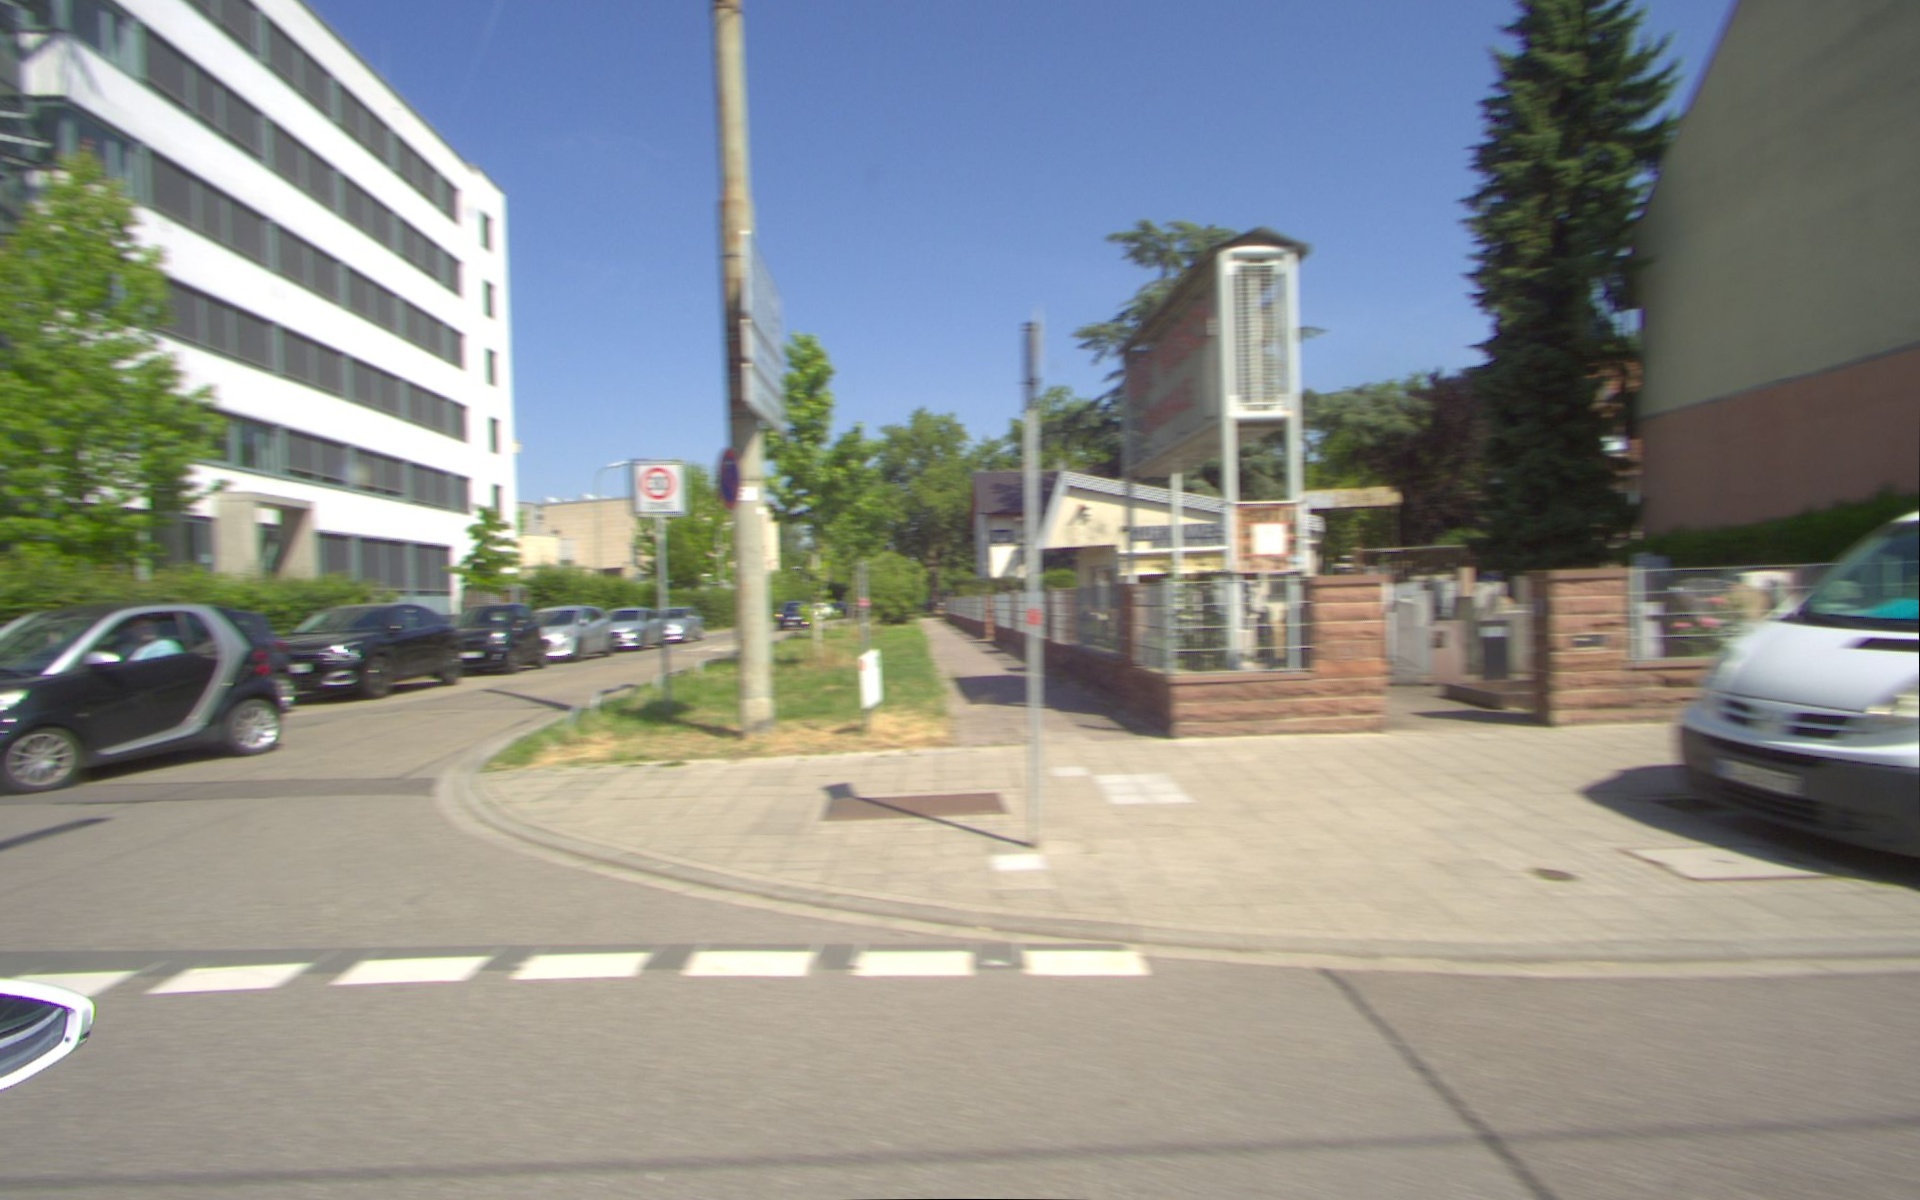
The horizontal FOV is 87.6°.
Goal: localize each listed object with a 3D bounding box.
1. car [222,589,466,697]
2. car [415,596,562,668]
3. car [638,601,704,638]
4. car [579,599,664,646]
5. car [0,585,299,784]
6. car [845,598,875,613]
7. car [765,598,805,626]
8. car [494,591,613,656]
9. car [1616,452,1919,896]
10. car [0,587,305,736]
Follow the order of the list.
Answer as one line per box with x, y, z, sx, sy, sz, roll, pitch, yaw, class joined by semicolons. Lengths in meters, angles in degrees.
-10.144;0.624;16.924;1.780;1.539;4.167;-2;0;-5;car
-10.573;0.664;22.773;1.749;1.463;3.849;-1;0;-5;car
-11.396;0.750;39.701;1.780;1.340;3.827;-1;0;-5;car
-11.117;0.693;33.159;1.780;1.422;3.827;-2;0;-5;car
-8.029;0.669;9.239;1.452;1.559;2.972;-1;1;14;car
-9.664;0.554;97.025;1.781;1.340;3.824;-1;0;12;car
-9.852;0.669;56.652;1.898;1.469;3.827;-2;0;-5;car
-10.840;0.567;27.010;1.780;1.525;4.042;-2;1;-5;car
6.771;0.261;5.655;4.812;2.041;2.089;-2;2;-2;car
-10.061;0.649;12.398;1.672;1.548;3.694;-1;1;-5;car
